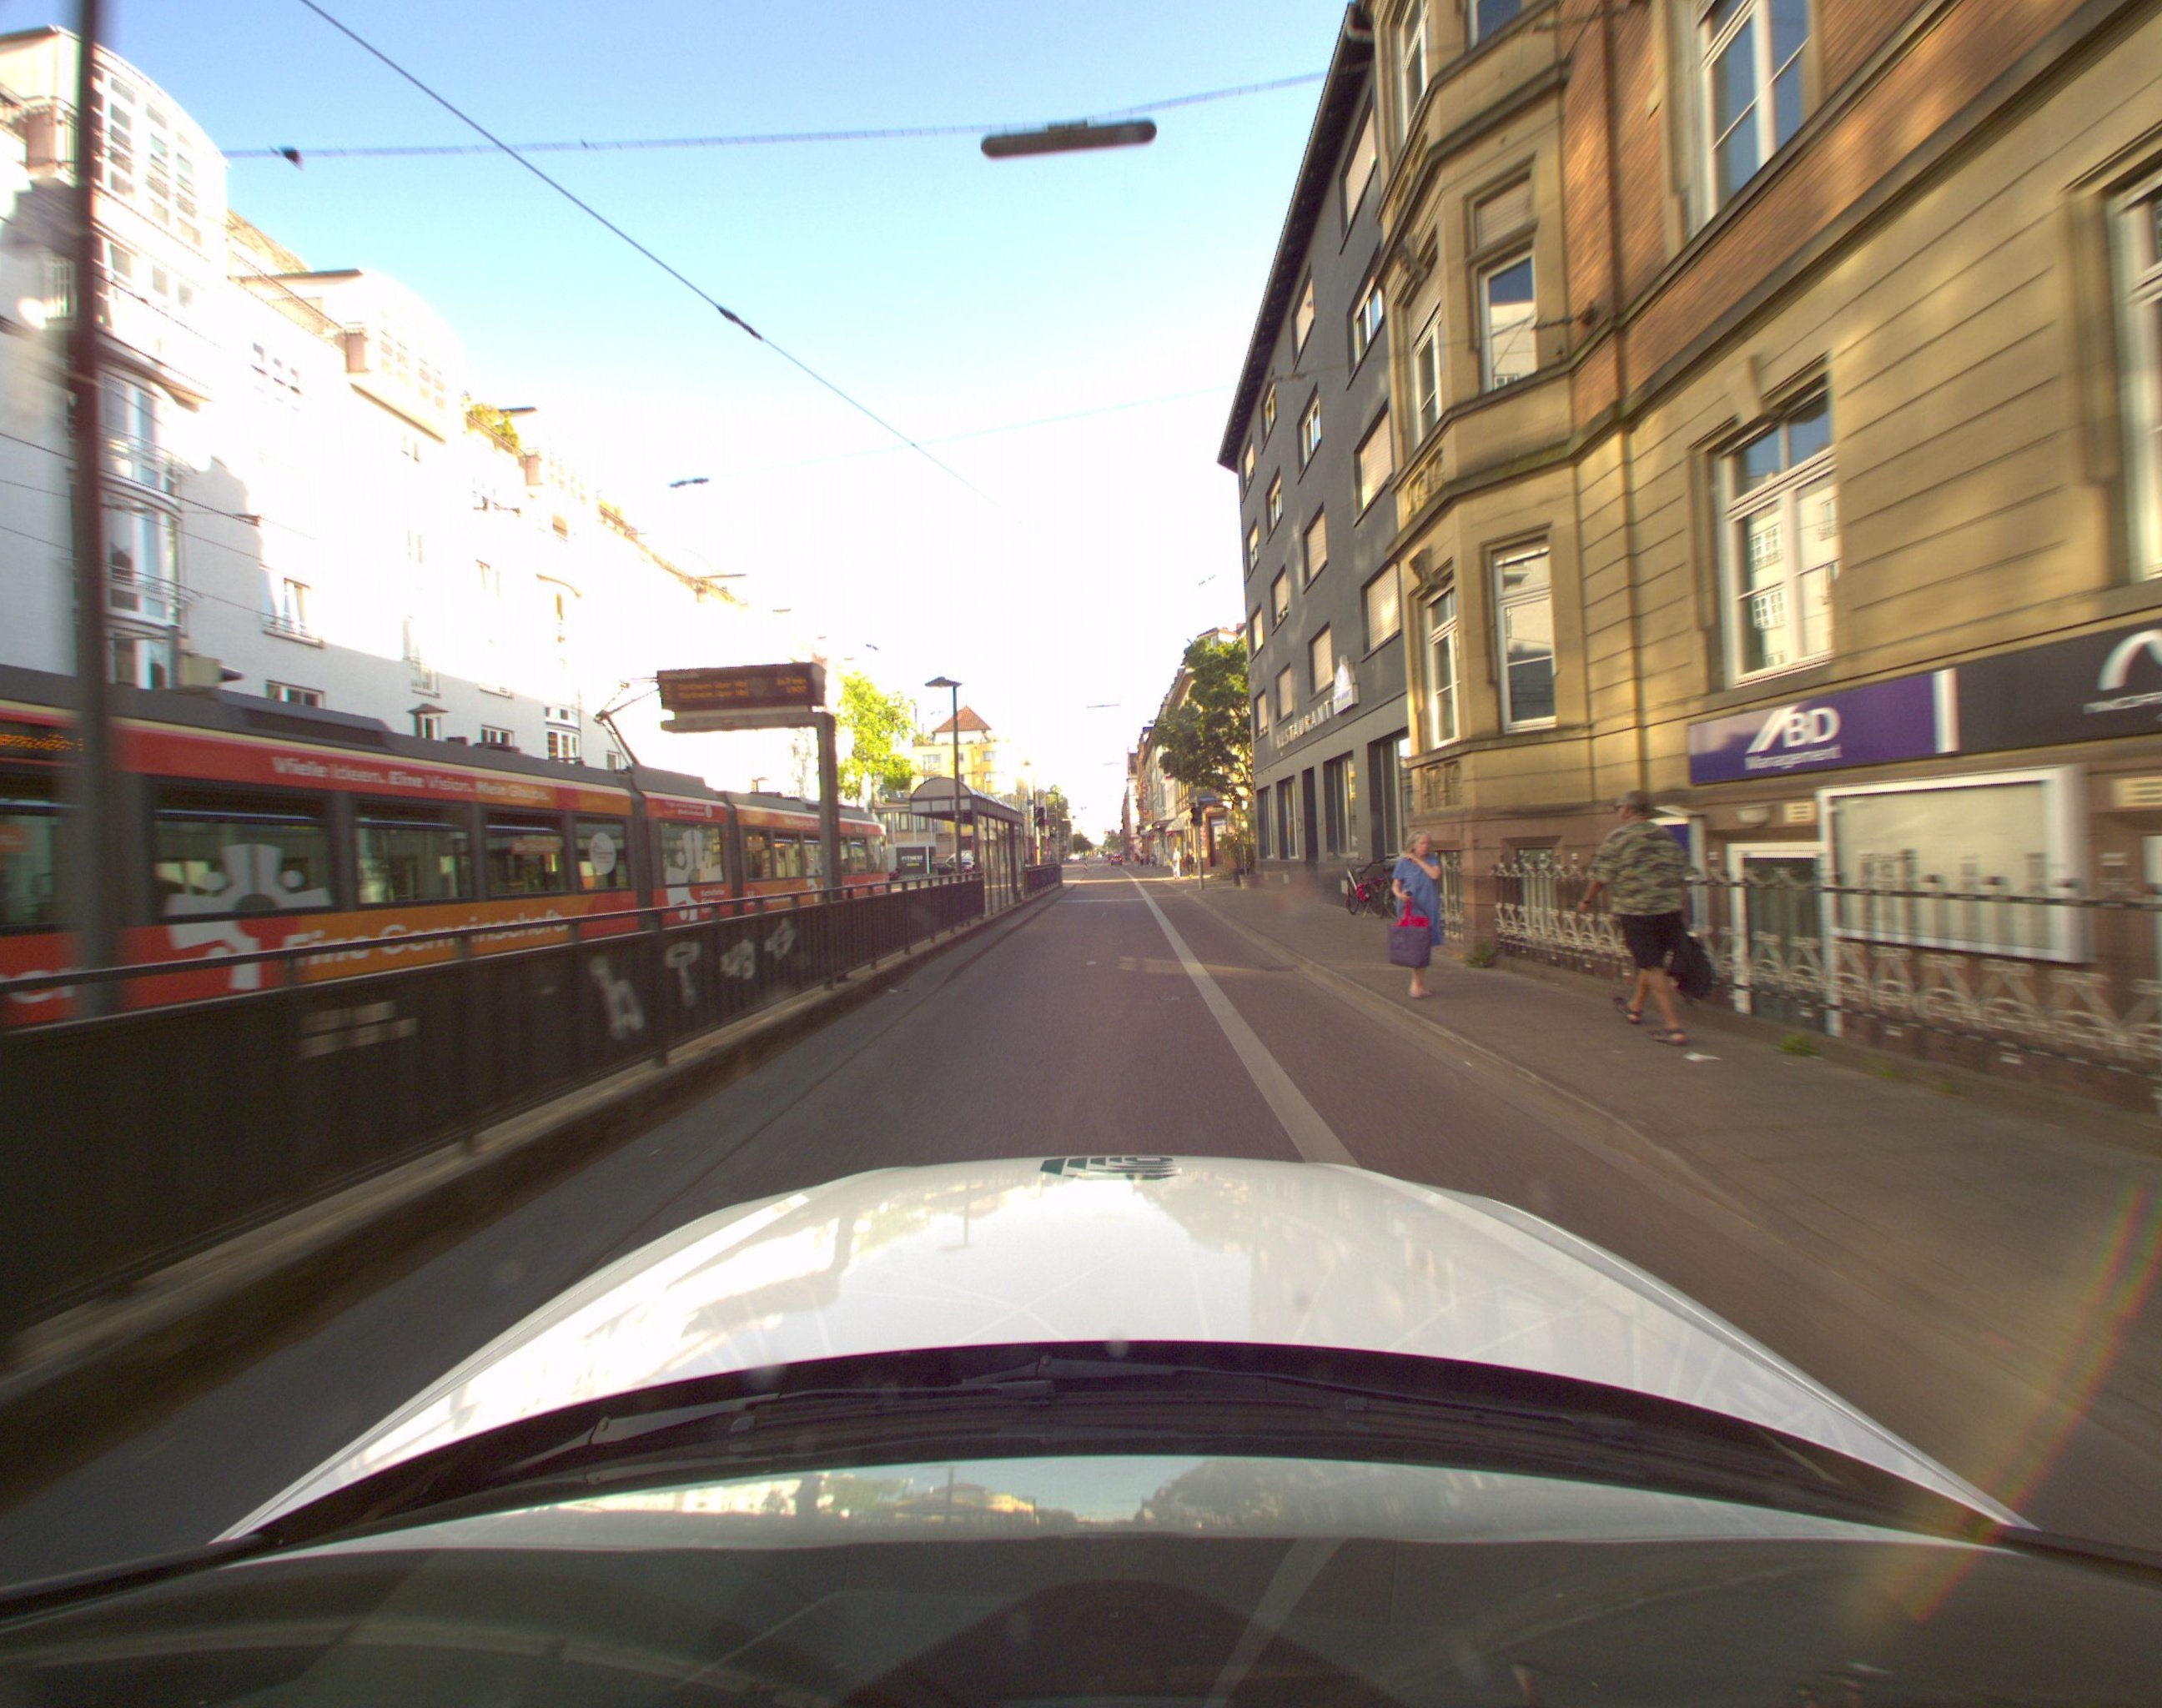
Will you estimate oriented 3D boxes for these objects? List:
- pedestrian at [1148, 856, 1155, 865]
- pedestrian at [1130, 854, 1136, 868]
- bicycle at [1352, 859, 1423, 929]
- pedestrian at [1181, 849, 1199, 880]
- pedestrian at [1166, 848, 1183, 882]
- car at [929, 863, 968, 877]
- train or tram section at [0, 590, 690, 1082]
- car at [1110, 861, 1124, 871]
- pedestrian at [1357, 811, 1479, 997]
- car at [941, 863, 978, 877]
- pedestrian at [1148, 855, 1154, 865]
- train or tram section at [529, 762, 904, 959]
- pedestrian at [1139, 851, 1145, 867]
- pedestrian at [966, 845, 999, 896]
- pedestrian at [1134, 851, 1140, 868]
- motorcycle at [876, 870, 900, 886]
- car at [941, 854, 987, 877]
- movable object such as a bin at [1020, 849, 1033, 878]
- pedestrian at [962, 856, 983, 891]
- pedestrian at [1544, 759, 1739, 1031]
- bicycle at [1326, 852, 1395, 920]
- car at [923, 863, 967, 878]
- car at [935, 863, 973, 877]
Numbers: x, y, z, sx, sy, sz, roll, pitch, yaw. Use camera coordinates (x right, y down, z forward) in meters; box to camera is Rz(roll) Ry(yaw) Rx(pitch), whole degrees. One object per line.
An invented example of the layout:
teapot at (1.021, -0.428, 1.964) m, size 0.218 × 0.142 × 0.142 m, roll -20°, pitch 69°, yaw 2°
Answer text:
pedestrian at (7.786, 0.731, 90.171) m, size 0.687 × 1.043 × 0.681 m, roll -1°, pitch -1°, yaw 6°
pedestrian at (7.044, 0.940, 110.432) m, size 0.840 × 1.918 × 0.661 m, roll -1°, pitch -1°, yaw 0°
bicycle at (5.193, 0.652, 13.906) m, size 0.588 × 1.070 × 1.806 m, roll -4°, pitch 0°, yaw 4°
pedestrian at (5.857, 0.578, 43.734) m, size 0.711 × 1.602 × 0.773 m, roll -4°, pitch 0°, yaw -1°
pedestrian at (5.007, 0.581, 43.680) m, size 0.711 × 1.774 × 0.773 m, roll -4°, pitch 0°, yaw -1°
car at (-14.396, 1.759, 88.580) m, size 3.971 × 1.510 × 1.801 m, roll 0°, pitch -1°, yaw 2°
train or tram section at (-9.017, -0.061, 8.071) m, size 2.874 × 3.490 × 14.173 m, roll -4°, pitch 0°, yaw 2°
car at (5.568, 1.813, 126.231) m, size 1.986 × 1.449 × 4.001 m, roll 0°, pitch -1°, yaw 2°
pedestrian at (3.180, 0.448, 7.765) m, size 0.760 × 1.645 × 0.832 m, roll -3°, pitch 0°, yaw 1°
car at (-13.972, 1.829, 93.684) m, size 3.971 × 1.510 × 1.801 m, roll 0°, pitch -1°, yaw 2°
pedestrian at (7.839, 0.696, 90.944) m, size 0.687 × 1.043 × 0.681 m, roll -1°, pitch -1°, yaw 6°
train or tram section at (-8.420, 0.121, 22.640) m, size 2.873 × 3.490 × 14.961 m, roll -4°, pitch 0°, yaw 3°
pedestrian at (6.865, 0.589, 91.406) m, size 0.645 × 1.796 × 0.562 m, roll -1°, pitch -1°, yaw 6°
pedestrian at (-2.340, 0.393, 19.346) m, size 0.682 × 1.176 × 0.537 m, roll -1°, pitch -1°, yaw 2°
pedestrian at (6.251, 0.624, 90.880) m, size 0.556 × 1.796 × 0.652 m, roll -1°, pitch -1°, yaw 8°
motorcycle at (-16.364, 2.027, 69.063) m, size 1.791 × 1.298 × 0.605 m, roll 2°, pitch -1°, yaw -5°
car at (-13.815, 1.364, 96.270) m, size 5.085 × 2.576 × 2.130 m, roll 0°, pitch -1°, yaw 2°
movable object such as a bin at (-1.772, 0.307, 26.416) m, size 0.351 × 0.944 × 0.530 m, roll -1°, pitch -1°, yaw 1°
pedestrian at (-5.374, 0.953, 40.355) m, size 0.866 × 1.714 × 0.787 m, roll 1°, pitch 0°, yaw -1°
pedestrian at (4.054, 0.281, 5.959) m, size 0.798 × 1.824 × 0.798 m, roll -3°, pitch 0°, yaw 1°
bicycle at (5.382, 0.594, 15.794) m, size 0.621 × 1.198 × 1.908 m, roll -4°, pitch 0°, yaw 0°
car at (-14.364, 1.732, 85.996) m, size 4.302 × 1.510 × 1.801 m, roll 0°, pitch -1°, yaw 2°
car at (-14.198, 1.795, 91.157) m, size 3.971 × 1.510 × 1.801 m, roll 0°, pitch -1°, yaw 2°
